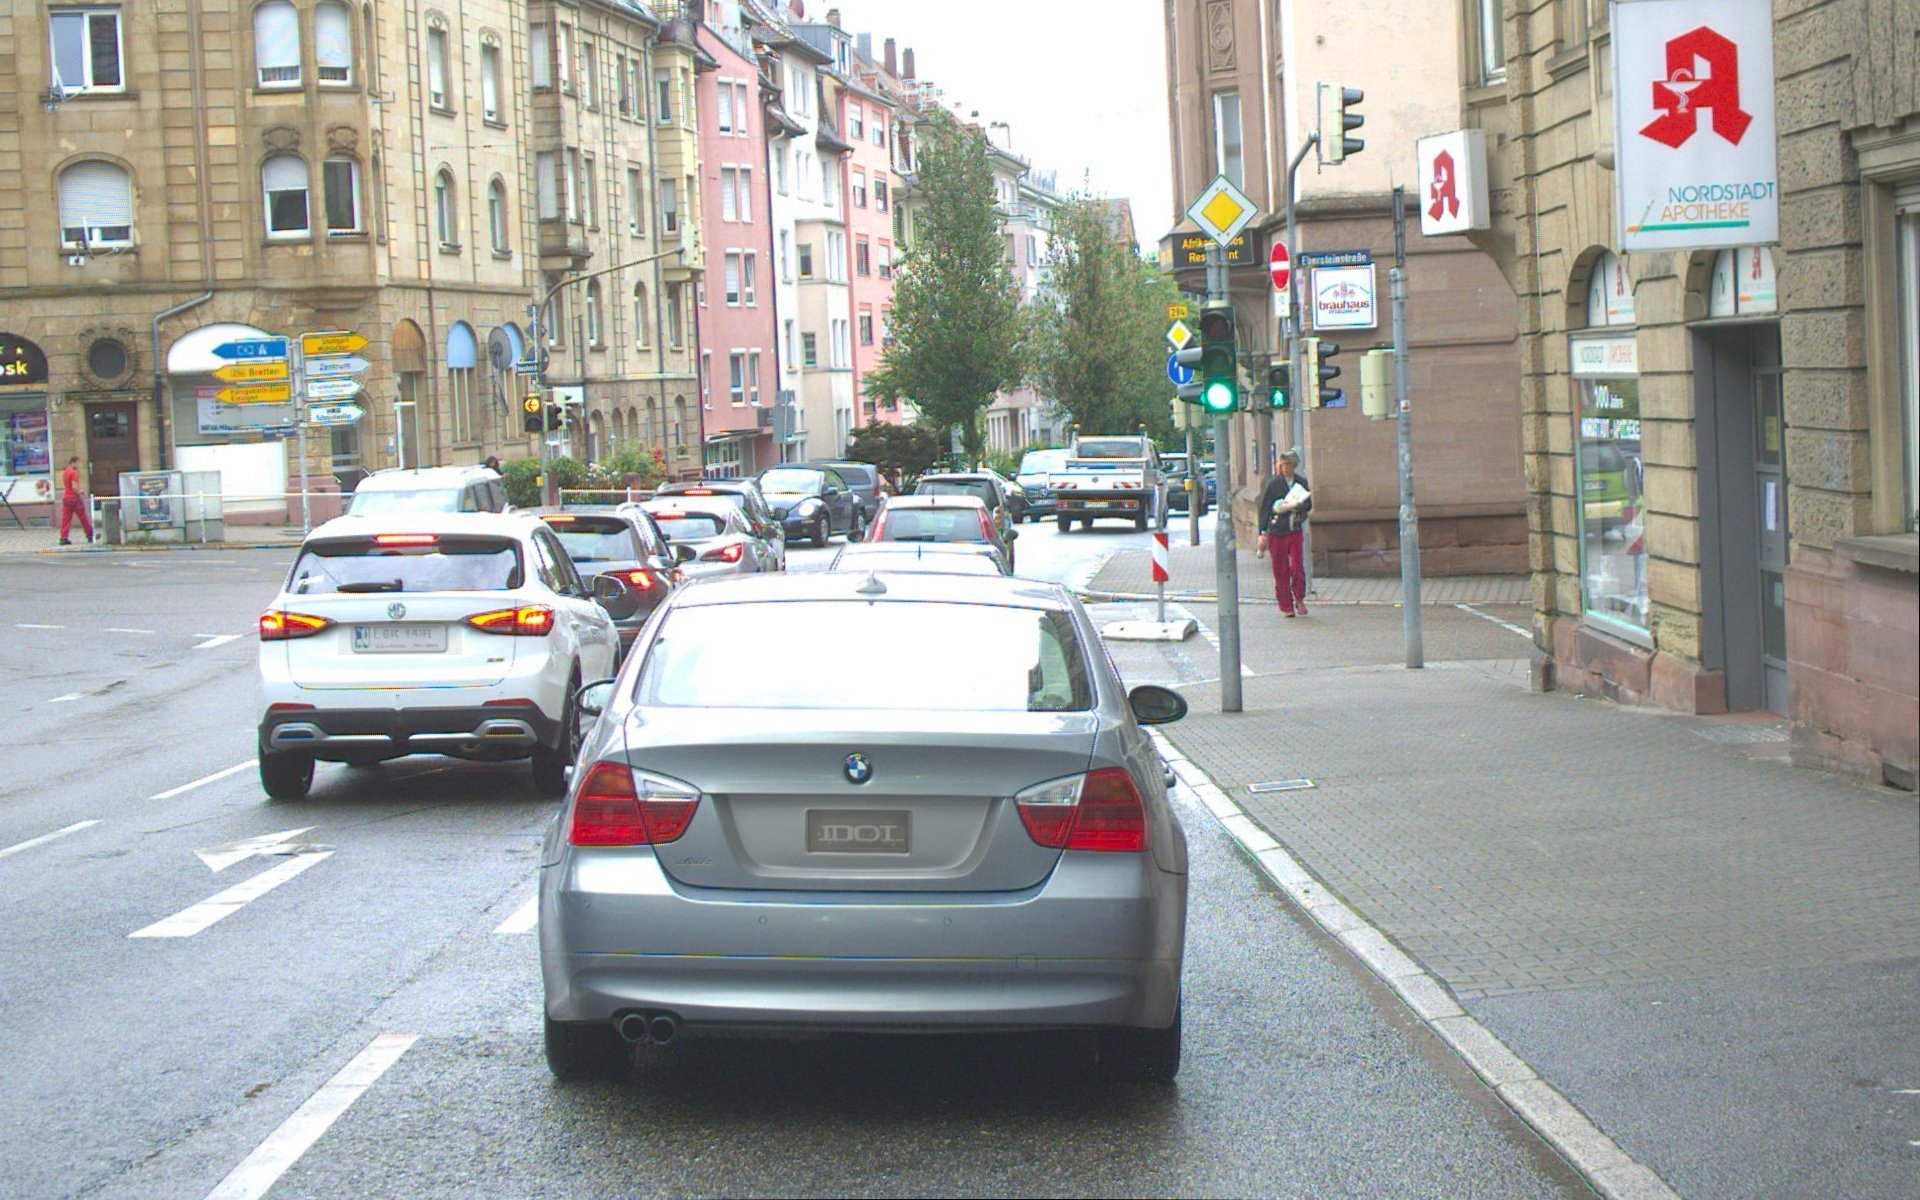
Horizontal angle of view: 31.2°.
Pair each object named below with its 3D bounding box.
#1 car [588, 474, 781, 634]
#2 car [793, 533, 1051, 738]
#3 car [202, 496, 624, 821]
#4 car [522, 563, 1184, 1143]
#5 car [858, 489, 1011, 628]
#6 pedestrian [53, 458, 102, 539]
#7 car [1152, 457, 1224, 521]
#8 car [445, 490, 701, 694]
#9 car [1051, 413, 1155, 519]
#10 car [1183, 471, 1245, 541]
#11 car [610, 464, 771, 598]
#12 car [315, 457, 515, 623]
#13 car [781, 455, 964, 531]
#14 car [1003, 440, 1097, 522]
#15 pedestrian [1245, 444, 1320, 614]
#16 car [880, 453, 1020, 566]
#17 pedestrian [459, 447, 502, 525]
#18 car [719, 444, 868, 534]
[{"bbox_3d":[-3.030,-0.535,38.495,1.759,1.702,4.000,0,1,1],"label":"car"},{"bbox_3d":[-0.220,0.206,25.496,1.759,1.378,4.000,0,1,1],"label":"car"},{"bbox_3d":[-3.173,0.260,20.732,1.868,1.620,4.001,-2,3,0],"label":"car"},{"bbox_3d":[-0.228,0.604,10.257,1.623,1.378,3.615,0,1,1],"label":"car"},{"bbox_3d":[-0.238,-0.490,38.473,1.595,1.459,4.000,0,1,1],"label":"car"},{"bbox_3d":[-17.279,-1.988,67.321,0.537,1.572,0.718,-1,1,28],"label":"pedestrian"},{"bbox_3d":[6.039,-2.935,91.426,1.725,1.547,4.000,1,0,2],"label":"car"},{"bbox_3d":[-3.389,-0.113,30.789,1.759,1.702,4.000,0,1,1],"label":"car"},{"bbox_3d":[2.950,-2.753,71.579,1.993,2.099,4.000,0,1,0],"label":"car"},{"bbox_3d":[7.670,-2.818,103.699,1.725,2.007,3.999,1,0,6],"label":"car"},{"bbox_3d":[-3.542,-0.922,45.783,1.759,1.702,4.000,0,1,1],"label":"car"},{"bbox_3d":[-6.712,-0.762,42.765,1.761,1.919,4.324,-1,1,0],"label":"car"},{"bbox_3d":[-2.498,-3.081,99.318,5.176,2.007,2.699,1,0,0],"label":"car"},{"bbox_3d":[2.386,-3.088,89.947,1.994,2.007,3.999,-2,0,8],"label":"car"},{"bbox_3d":[3.670,-0.811,39.135,0.742,1.903,0.659,-1,1,-1],"label":"pedestrian"},{"bbox_3d":[-0.107,-1.322,50.073,1.760,1.562,4.000,0,2,4],"label":"car"},{"bbox_3d":[-9.882,-2.345,70.836,0.732,1.572,0.528,-1,1,9],"label":"pedestrian"},{"bbox_3d":[-3.051,-2.042,63.904,1.845,1.535,3.998,1,0,11],"label":"car"}]
